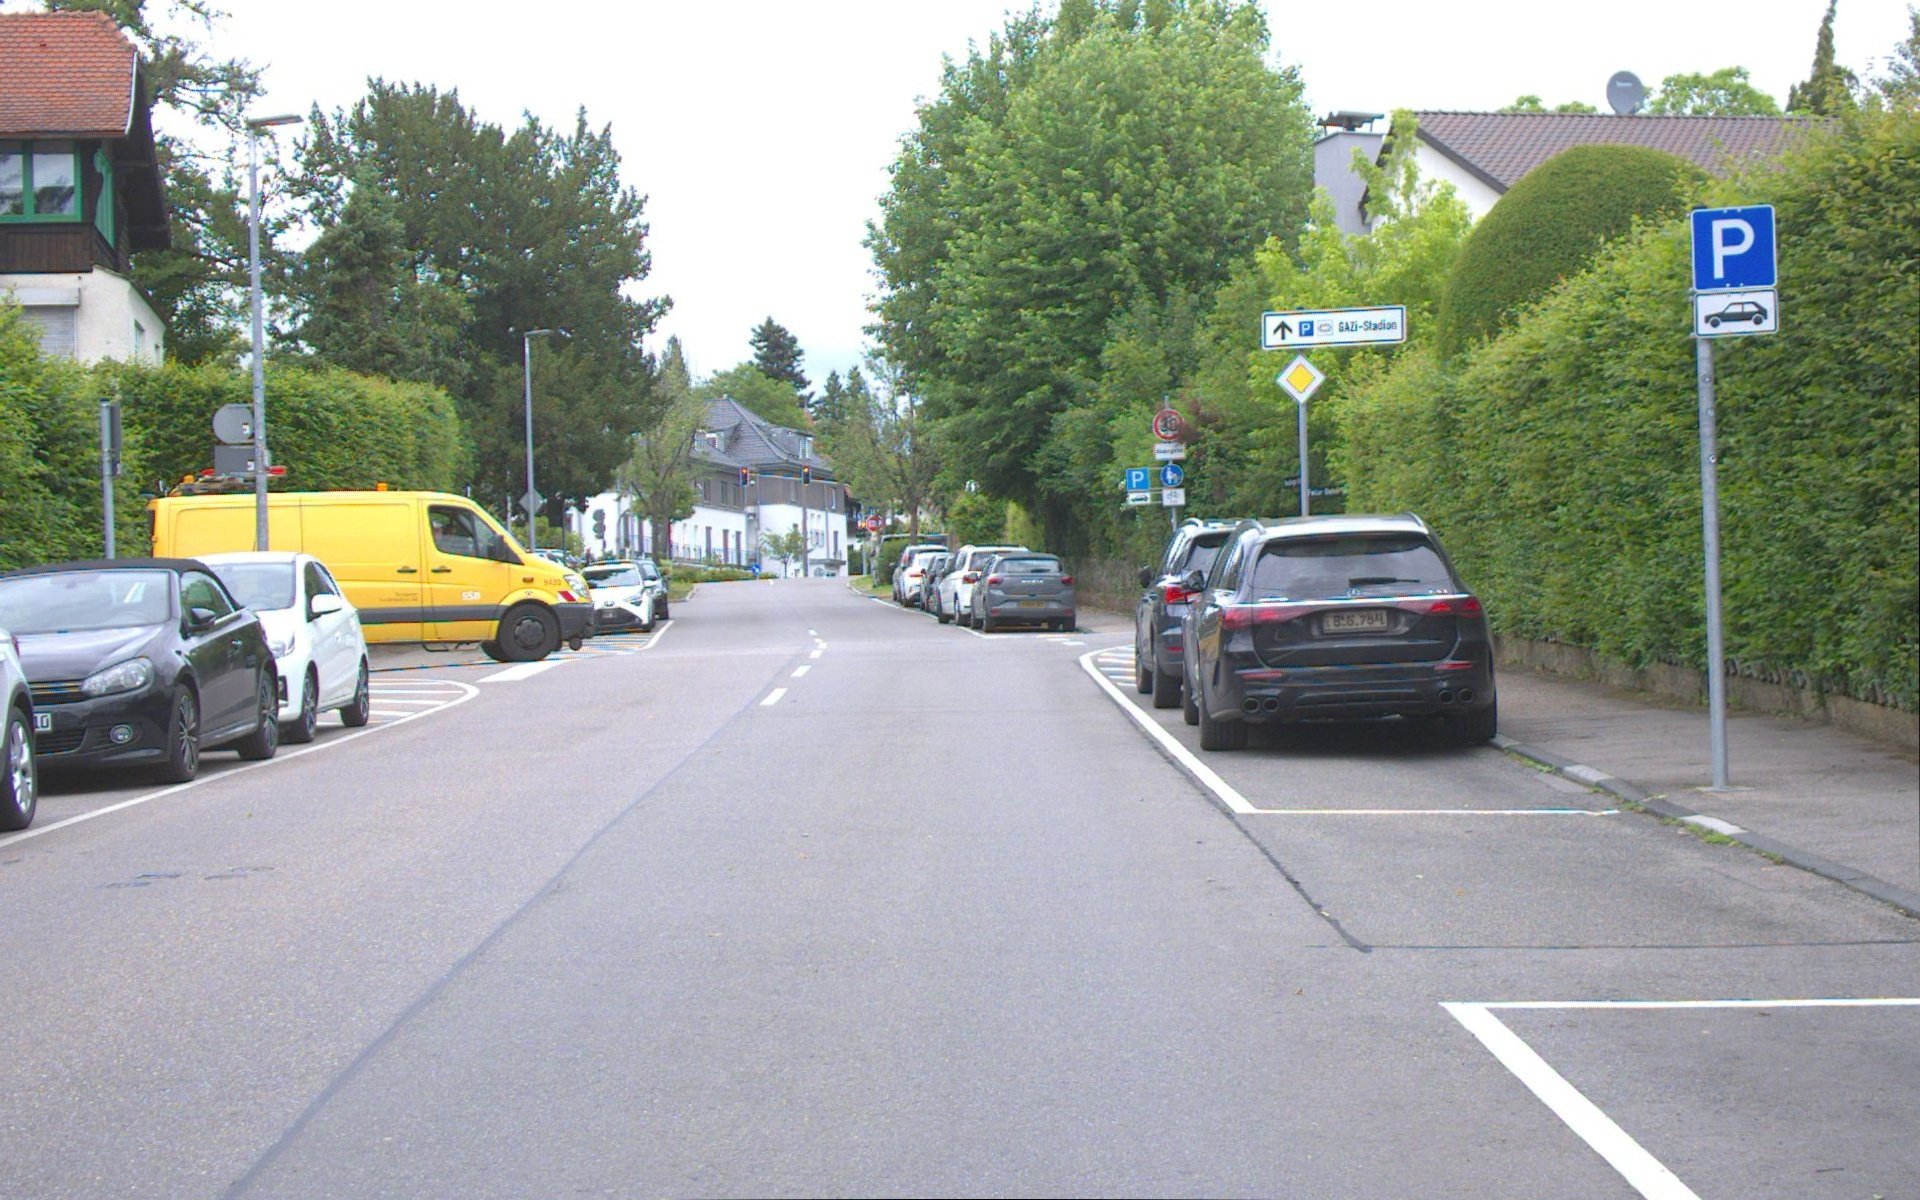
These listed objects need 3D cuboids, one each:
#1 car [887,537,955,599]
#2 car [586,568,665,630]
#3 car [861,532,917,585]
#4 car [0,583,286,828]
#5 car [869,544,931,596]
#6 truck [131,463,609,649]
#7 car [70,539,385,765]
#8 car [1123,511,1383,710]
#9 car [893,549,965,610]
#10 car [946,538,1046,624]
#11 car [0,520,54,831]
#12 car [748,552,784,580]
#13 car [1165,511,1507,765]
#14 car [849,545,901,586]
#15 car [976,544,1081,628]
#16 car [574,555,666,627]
[{"bbox_3d":[-1.128,-0.915,97.791,1.664,1.662,3.468,-1,2,-4],"label":"car"},{"bbox_3d":[-8.192,-0.038,83.991,1.664,1.395,3.468,-2,2,-9],"label":"car"},{"bbox_3d":[-2.366,-1.399,113.654,1.643,1.662,3.468,-1,2,-4],"label":"car"},{"bbox_3d":[-5.658,0.645,22.224,1.762,1.383,4.000,-4,0,0],"label":"car"},{"bbox_3d":[-1.853,-0.924,104.819,1.664,1.495,3.468,-1,2,-4],"label":"car"},{"bbox_3d":[-7.912,-0.577,45.862,5.930,2.301,2.826,-1,-2,-17],"label":"truck"},{"bbox_3d":[-5.690,0.349,27.092,1.630,1.518,3.638,-4,2,0],"label":"car"},{"bbox_3d":[2.403,0.025,29.169,1.883,1.528,4.475,0,2,1],"label":"car"},{"bbox_3d":[-0.840,-0.554,90.887,1.664,1.495,3.468,-1,2,-4],"label":"car"},{"bbox_3d":[0.720,-0.412,71.048,1.713,1.651,3.623,-1,2,-4],"label":"car"},{"bbox_3d":[-5.607,0.439,16.154,1.722,1.535,4.001,-3,2,-2],"label":"car"},{"bbox_3d":[-10.548,-1.840,186.795,1.822,1.415,4.001,-1,1,-4],"label":"car"},{"bbox_3d":[2.432,0.175,23.249,1.883,1.528,4.475,0,2,1],"label":"car"},{"bbox_3d":[-3.052,-1.230,122.666,1.643,1.367,3.468,-1,2,-4],"label":"car"},{"bbox_3d":[1.302,-0.290,66.291,1.664,1.495,3.468,-1,2,-4],"label":"car"},{"bbox_3d":[-7.134,-0.214,71.895,1.664,1.395,3.468,-2,2,-9],"label":"car"}]
